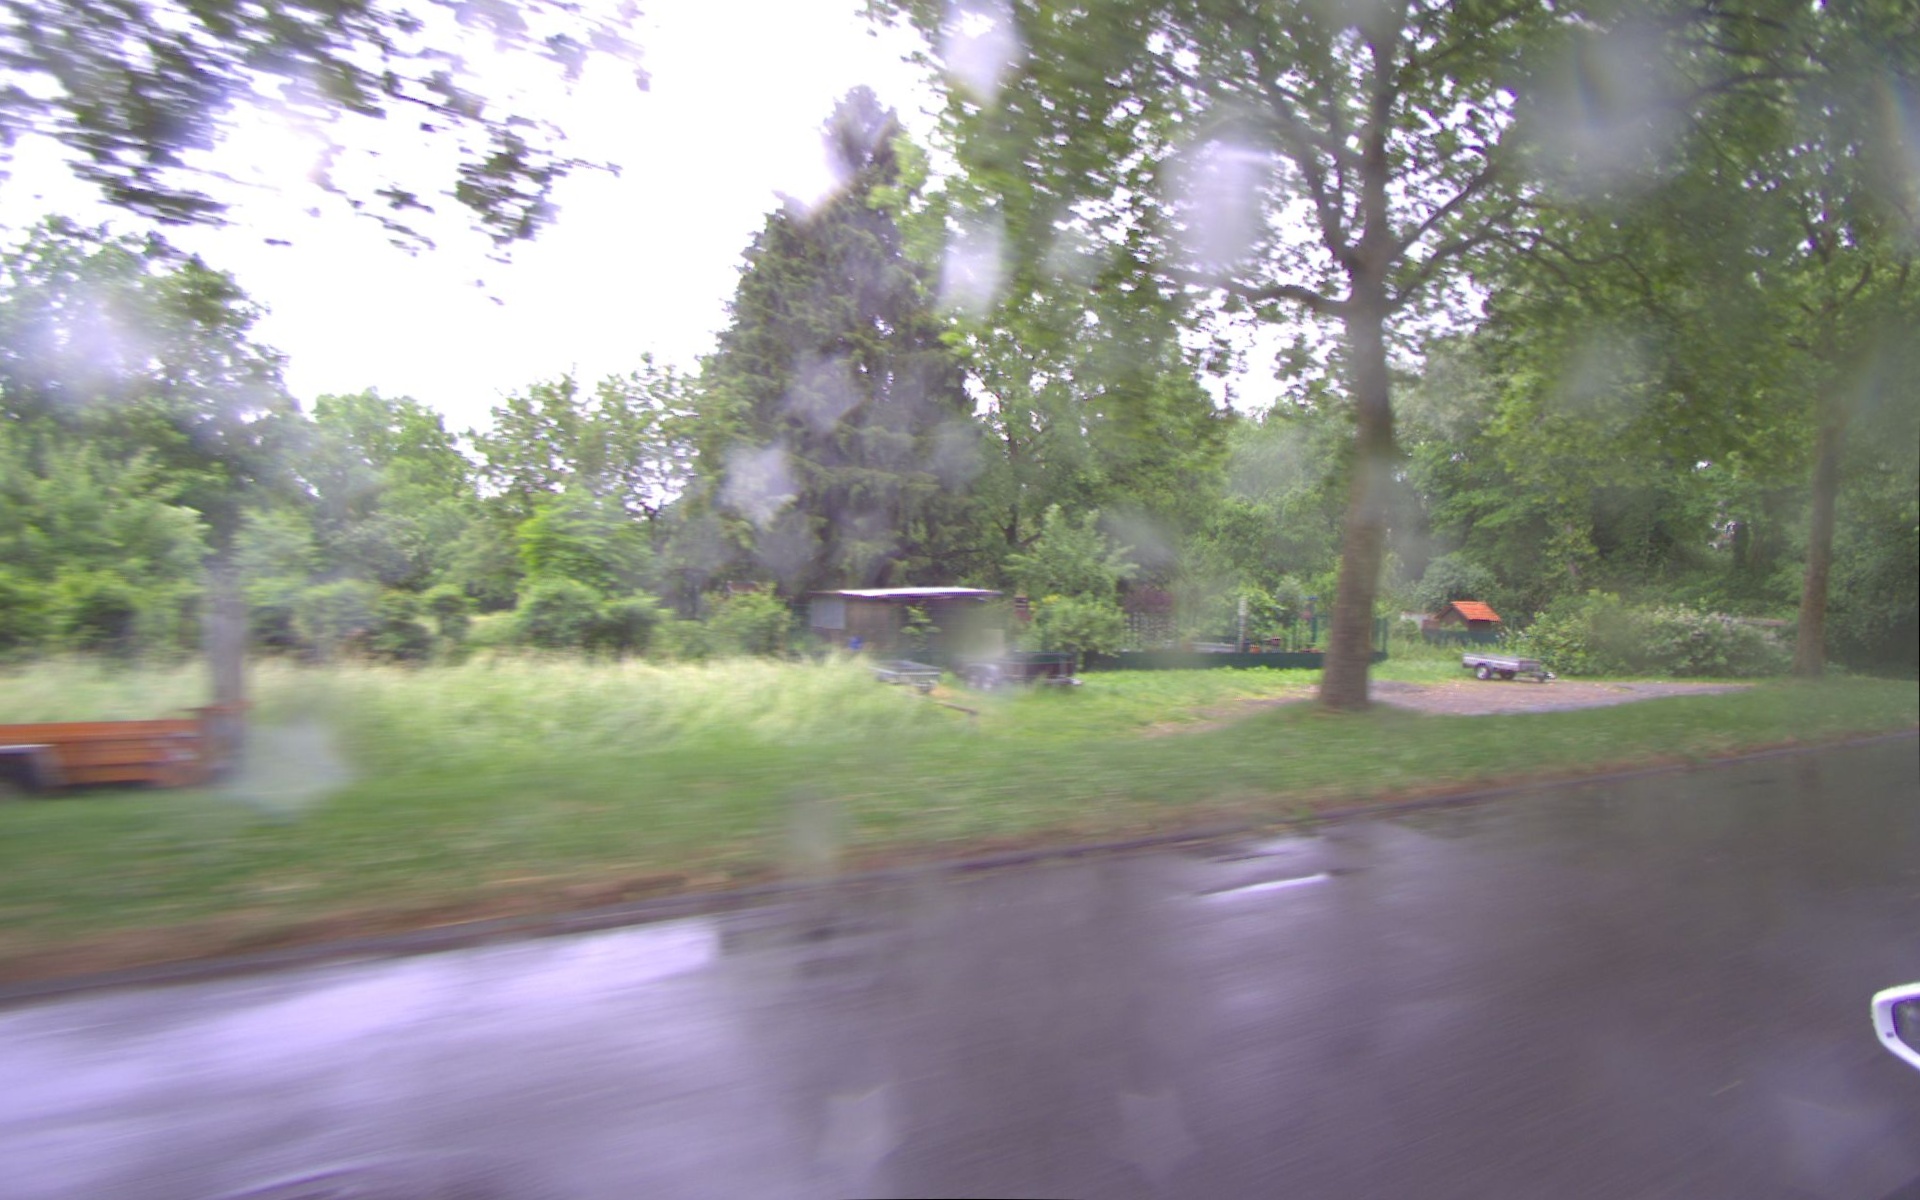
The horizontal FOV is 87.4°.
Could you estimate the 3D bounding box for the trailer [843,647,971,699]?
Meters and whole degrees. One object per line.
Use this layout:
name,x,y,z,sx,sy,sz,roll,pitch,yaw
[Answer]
trailer,-1.275,1.644,23.190,1.748,0.957,3.060,2,0,-30

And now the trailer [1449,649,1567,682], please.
trailer,18.159,2.154,33.384,1.657,0.849,3.017,2,0,-28

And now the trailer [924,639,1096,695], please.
trailer,1.162,1.636,25.432,2.355,1.046,4.293,2,0,-31

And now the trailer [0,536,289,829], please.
trailer,-10.670,0.712,9.801,6.573,2.699,2.785,2,0,-30
